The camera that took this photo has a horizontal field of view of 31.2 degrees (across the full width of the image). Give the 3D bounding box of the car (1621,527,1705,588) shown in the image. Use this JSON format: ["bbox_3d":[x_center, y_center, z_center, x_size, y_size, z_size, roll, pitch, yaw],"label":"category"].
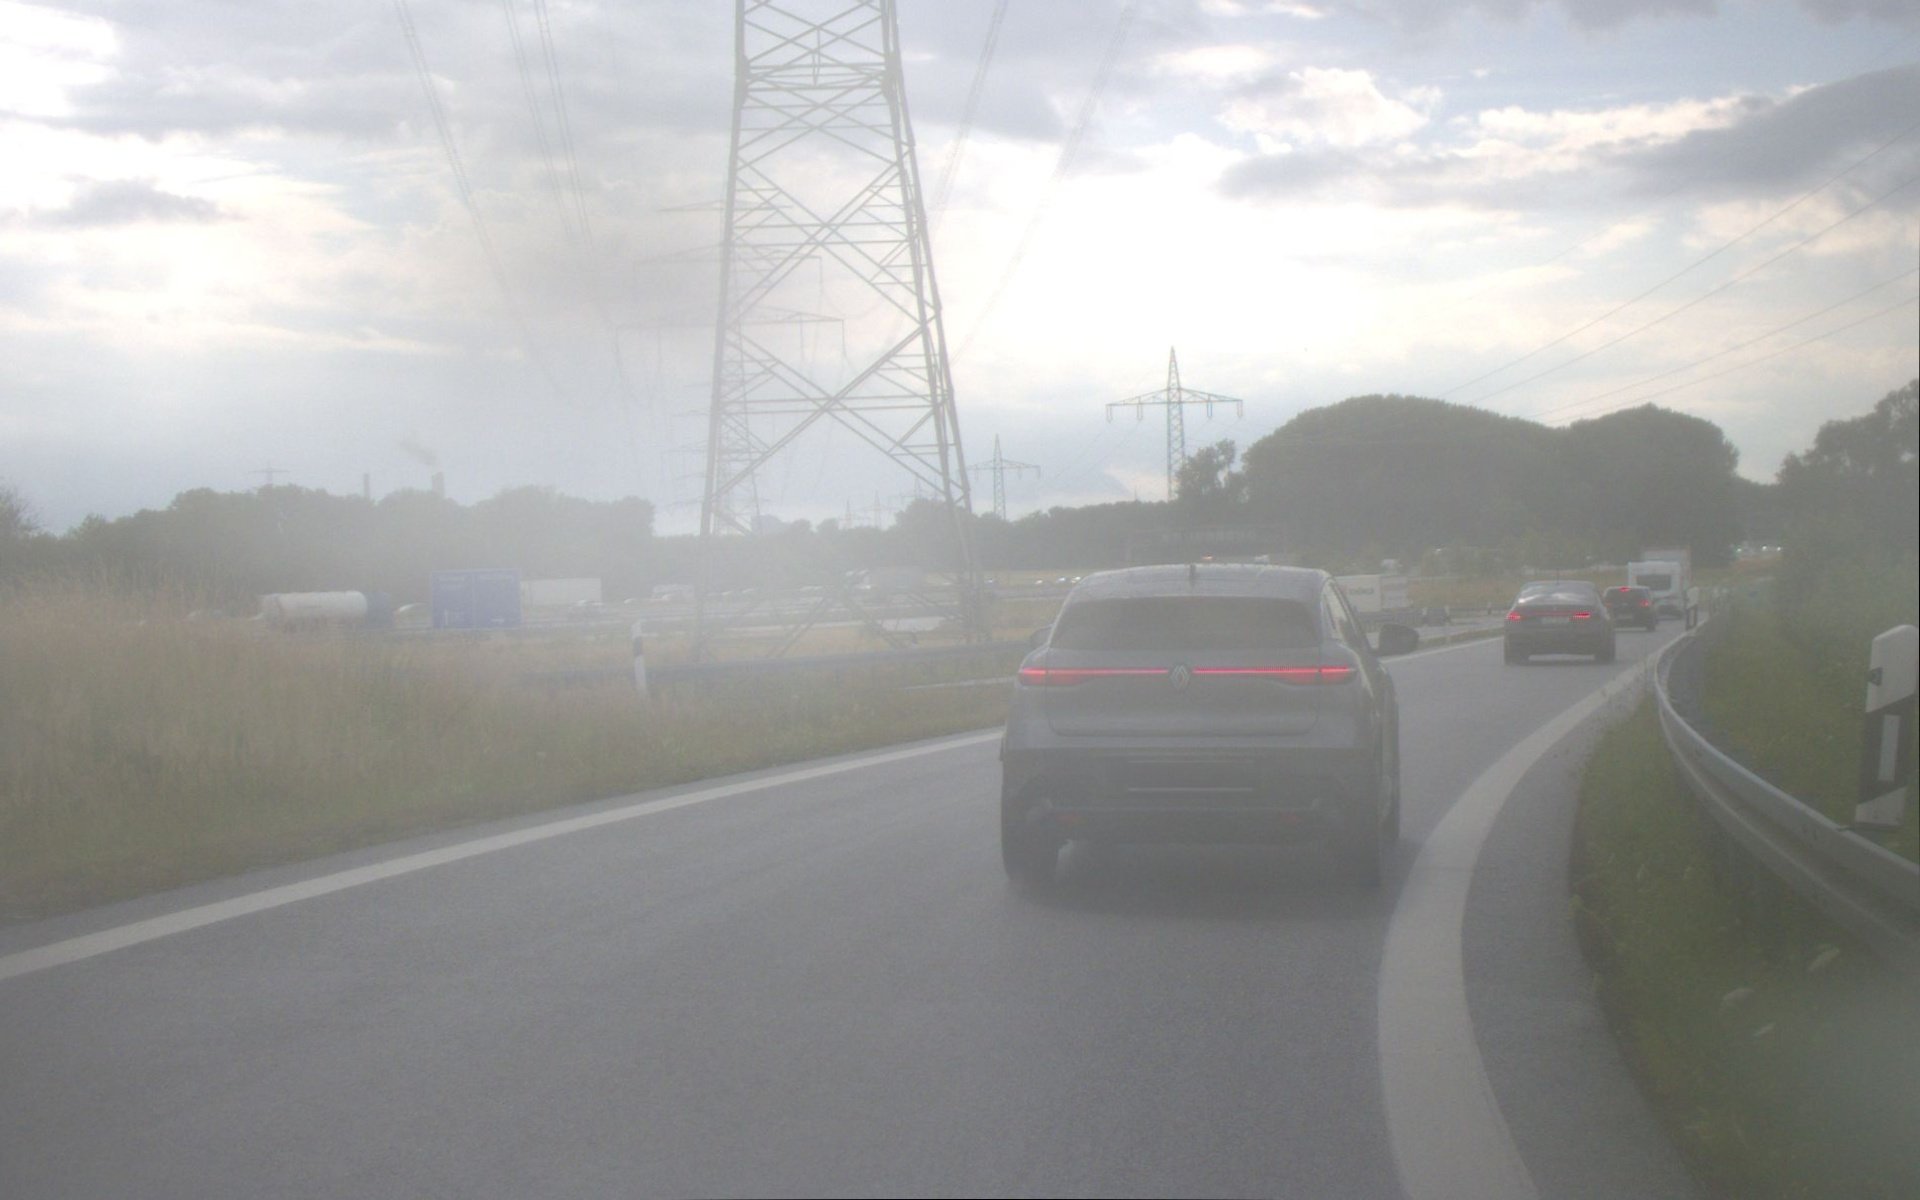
[{"bbox_3d":[37.212,-2.301,182.268,3.136,2.941,7.209,-2,2,2],"label":"car"}]

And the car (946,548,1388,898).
[{"bbox_3d":[1.168,0.523,17.713,1.994,1.561,4.148,1,1,6],"label":"car"}]

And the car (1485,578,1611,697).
[{"bbox_3d":[10.893,0.657,63.542,2.122,2.011,5.532,-2,0,10],"label":"car"}]

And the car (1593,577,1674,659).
[{"bbox_3d":[21.732,0.557,110.783,2.352,2.299,5.126,-2,2,13],"label":"car"}]

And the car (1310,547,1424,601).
[{"bbox_3d":[29.255,-1.855,247.319,3.383,3.598,9.045,-2,0,-29],"label":"car"}]
